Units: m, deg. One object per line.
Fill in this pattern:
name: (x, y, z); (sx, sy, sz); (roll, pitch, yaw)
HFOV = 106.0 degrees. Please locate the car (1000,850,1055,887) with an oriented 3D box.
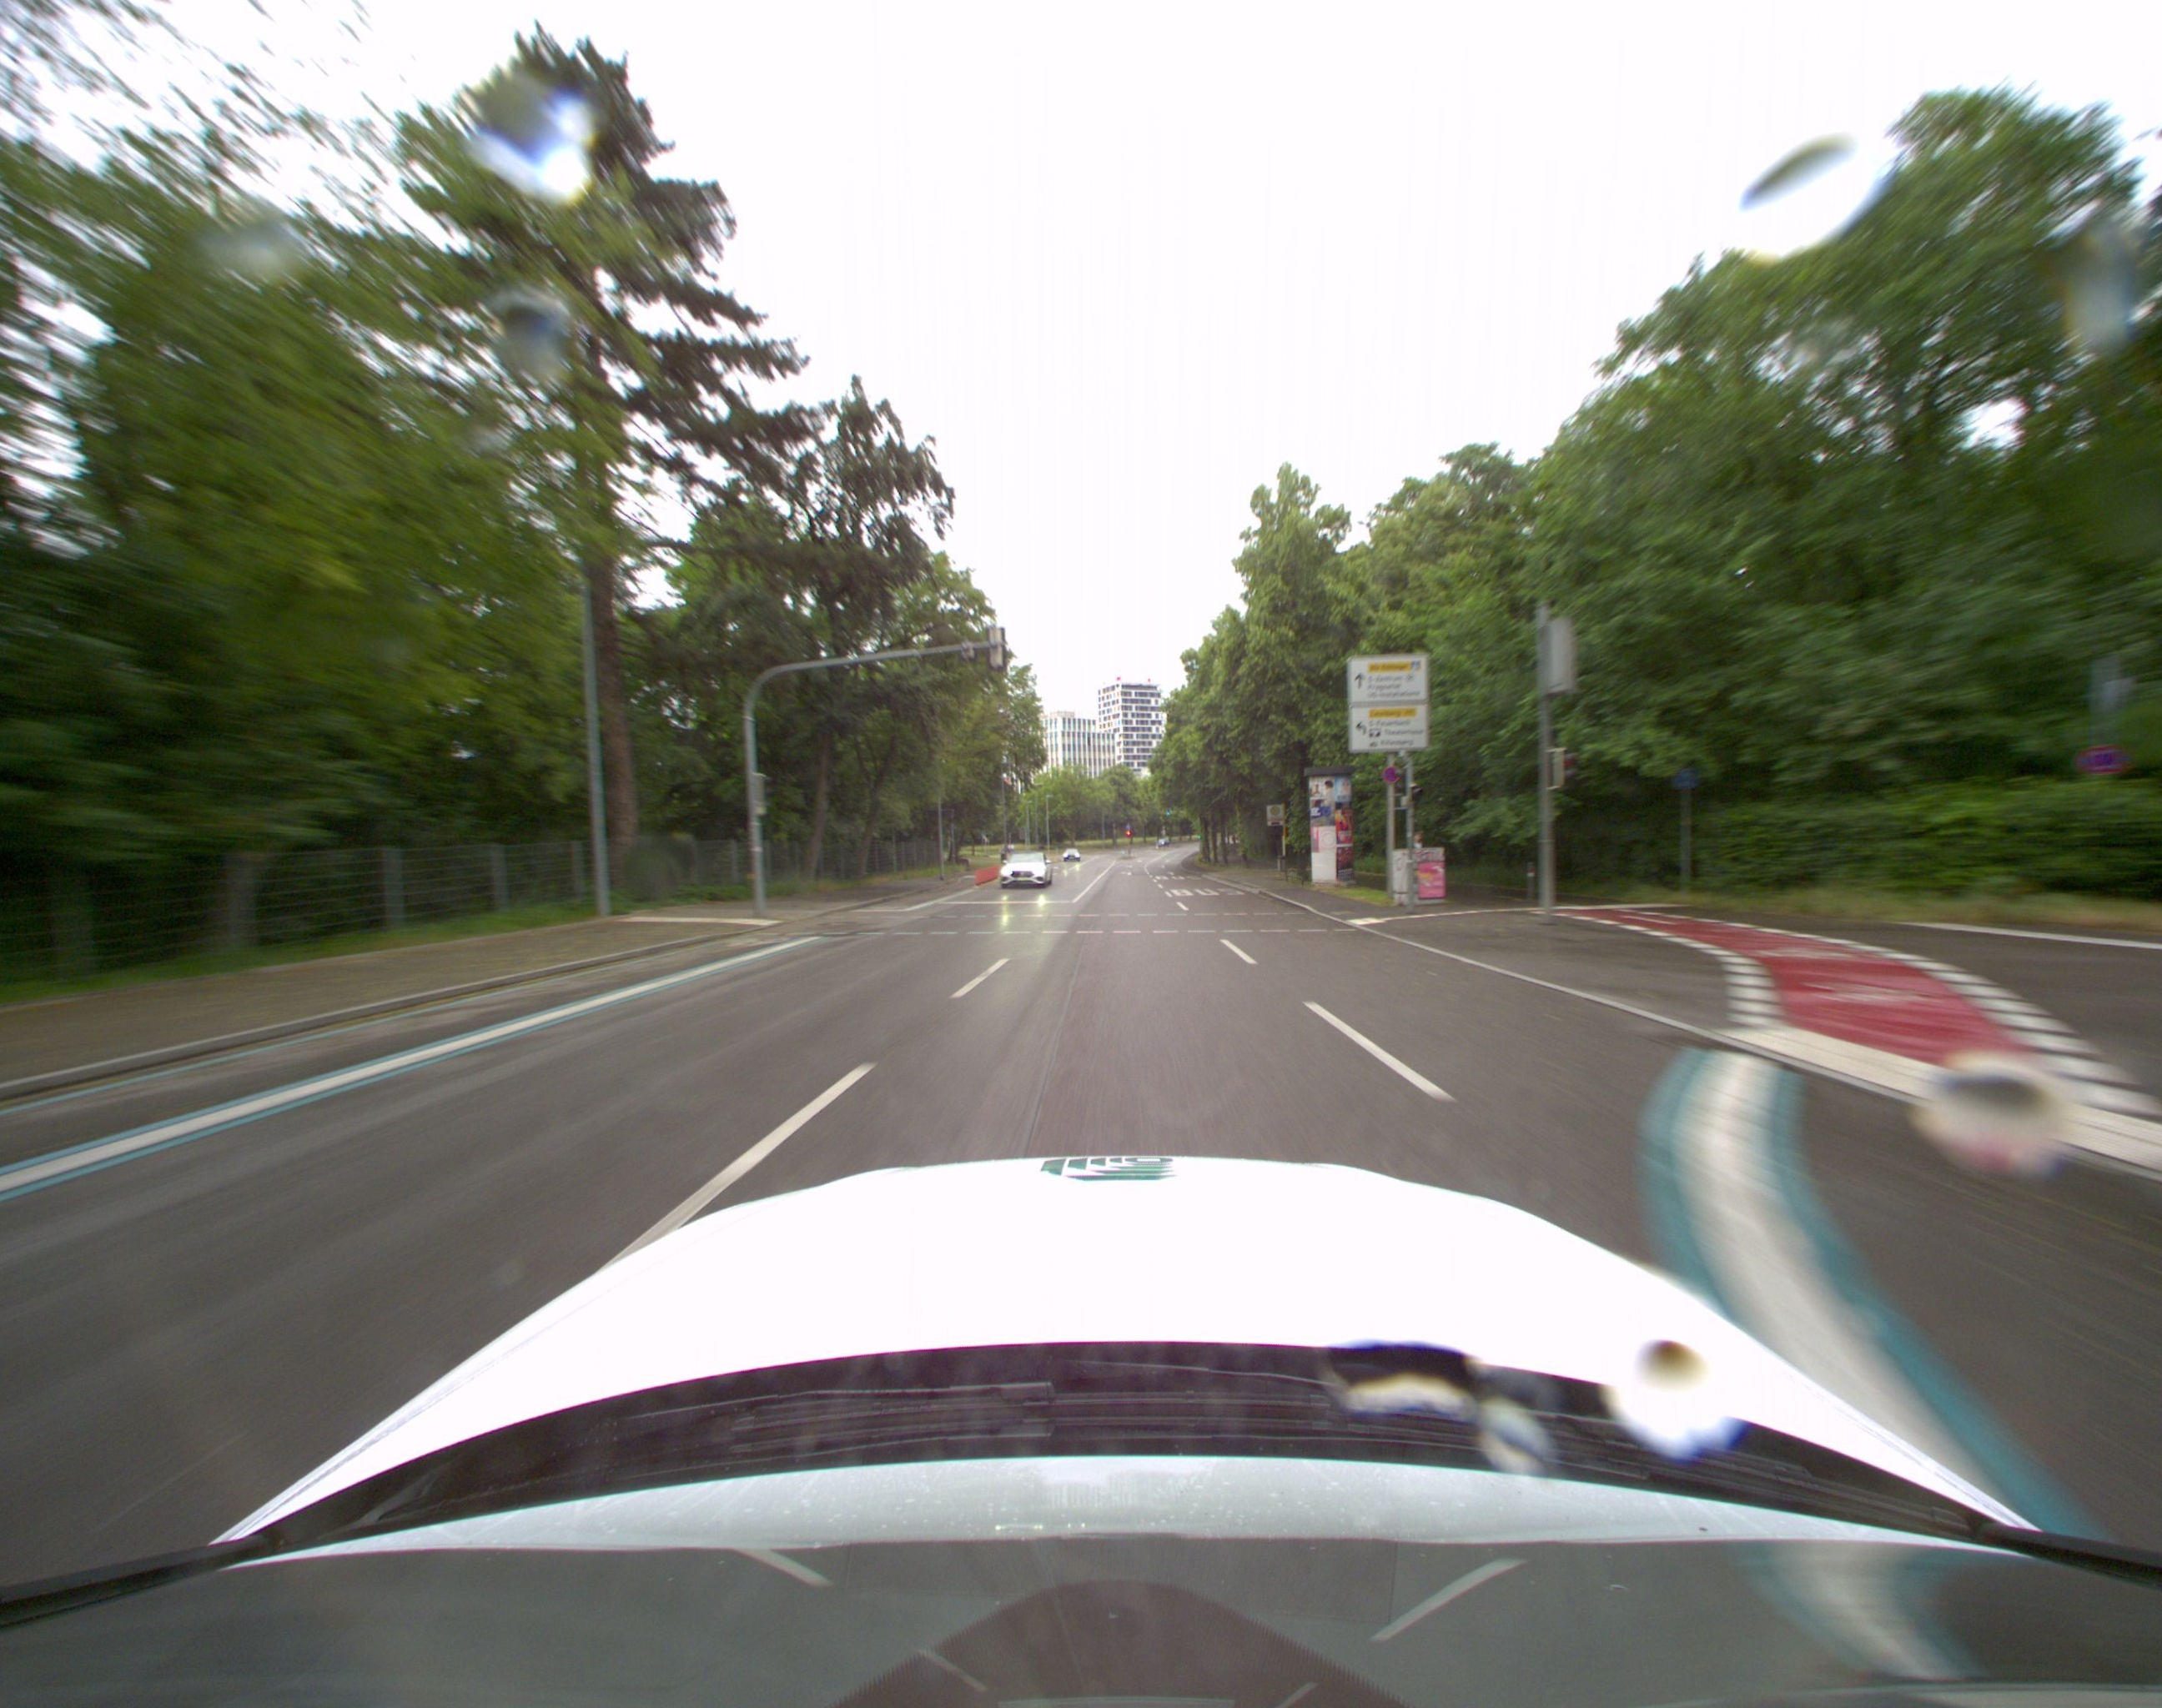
car: (-2.288, 0.581, 35.704); (1.836, 1.457, 4.503); (-2, 0, 3)

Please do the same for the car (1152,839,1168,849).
car: (14.482, -1.826, 148.602); (1.977, 1.685, 4.019); (-1, 0, 19)

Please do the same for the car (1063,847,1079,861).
car: (-1.083, 0.031, 92.617); (1.595, 1.442, 4.004); (1, 2, 3)
